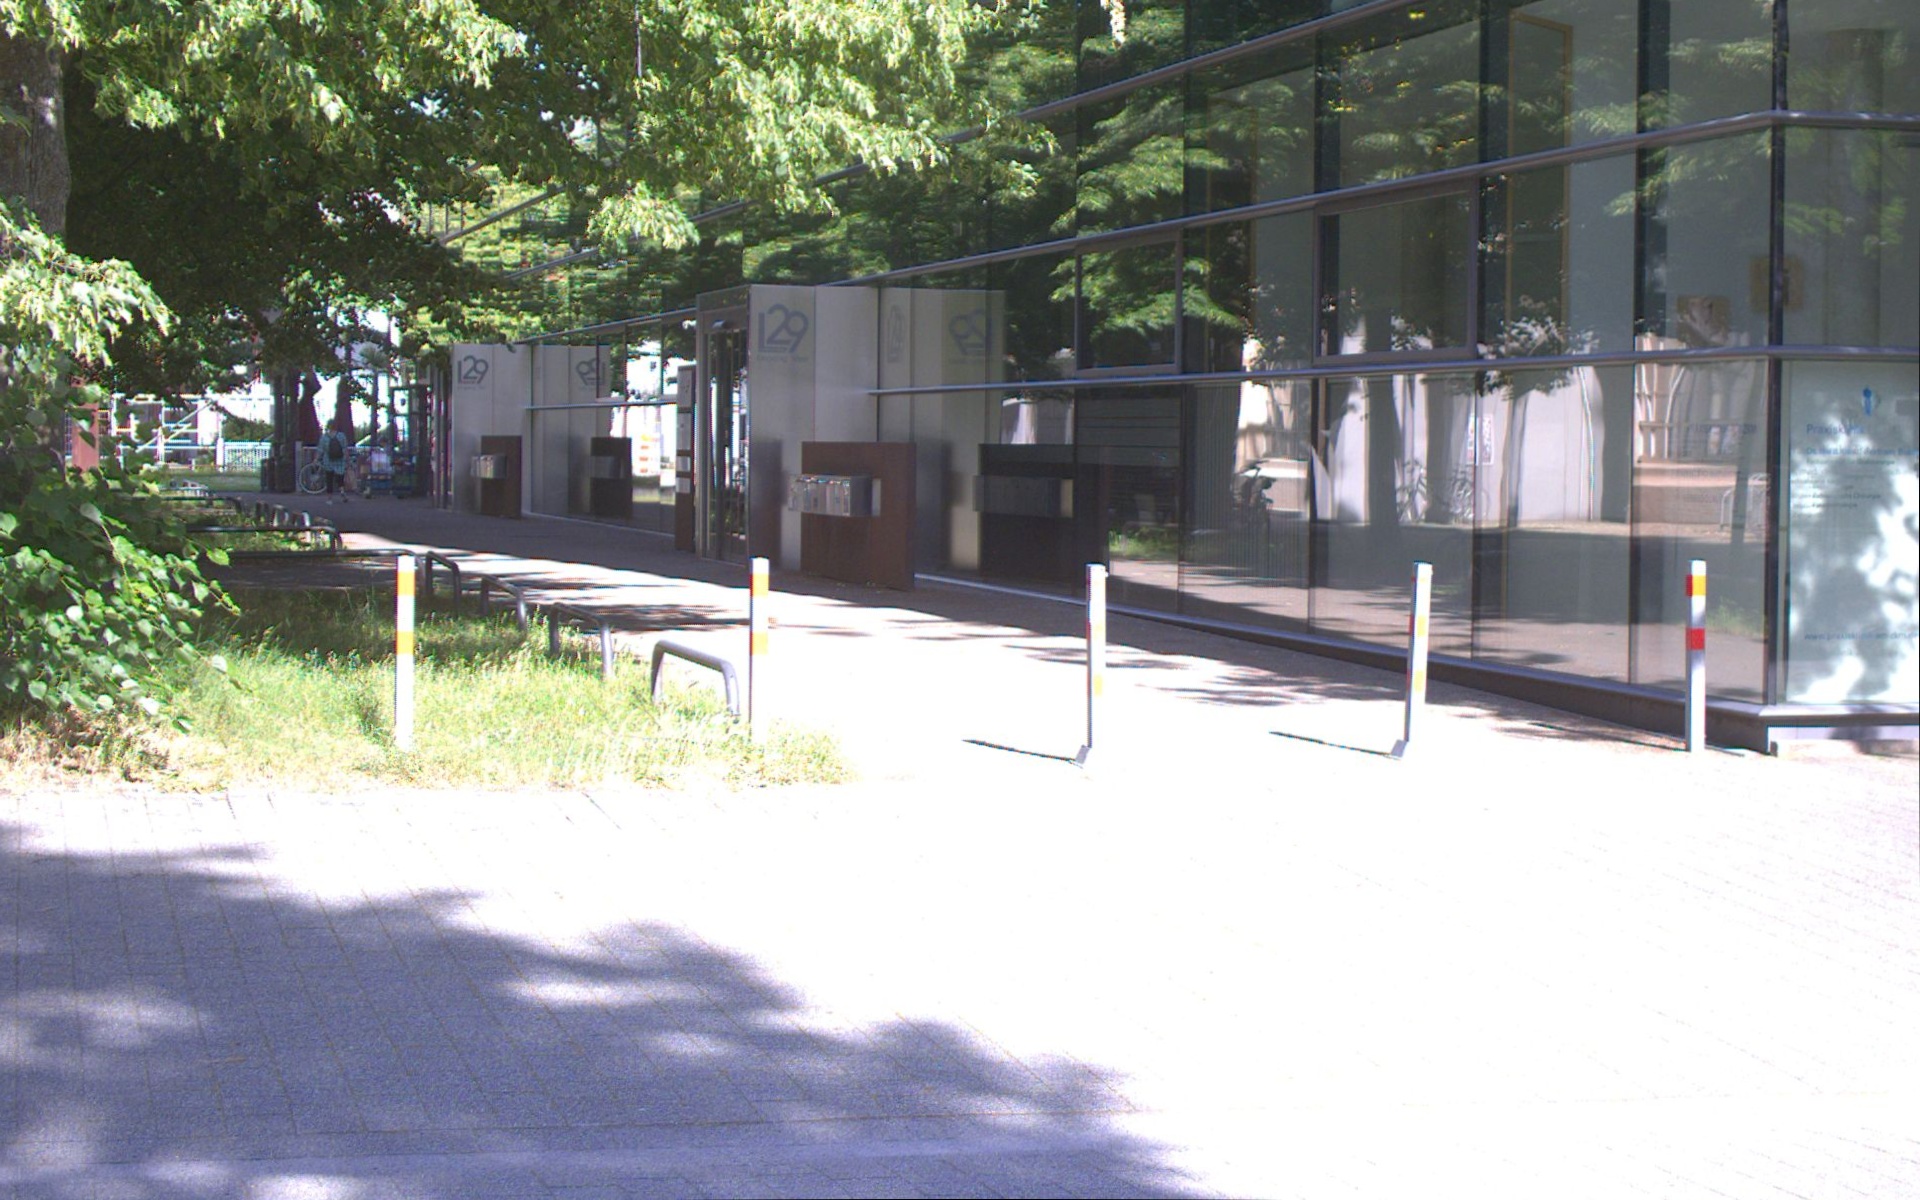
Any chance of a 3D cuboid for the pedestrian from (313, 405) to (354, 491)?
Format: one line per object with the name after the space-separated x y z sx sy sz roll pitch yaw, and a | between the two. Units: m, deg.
-11.345 -2.754 62.254 0.716 1.545 0.690 0 3 -9 | pedestrian
